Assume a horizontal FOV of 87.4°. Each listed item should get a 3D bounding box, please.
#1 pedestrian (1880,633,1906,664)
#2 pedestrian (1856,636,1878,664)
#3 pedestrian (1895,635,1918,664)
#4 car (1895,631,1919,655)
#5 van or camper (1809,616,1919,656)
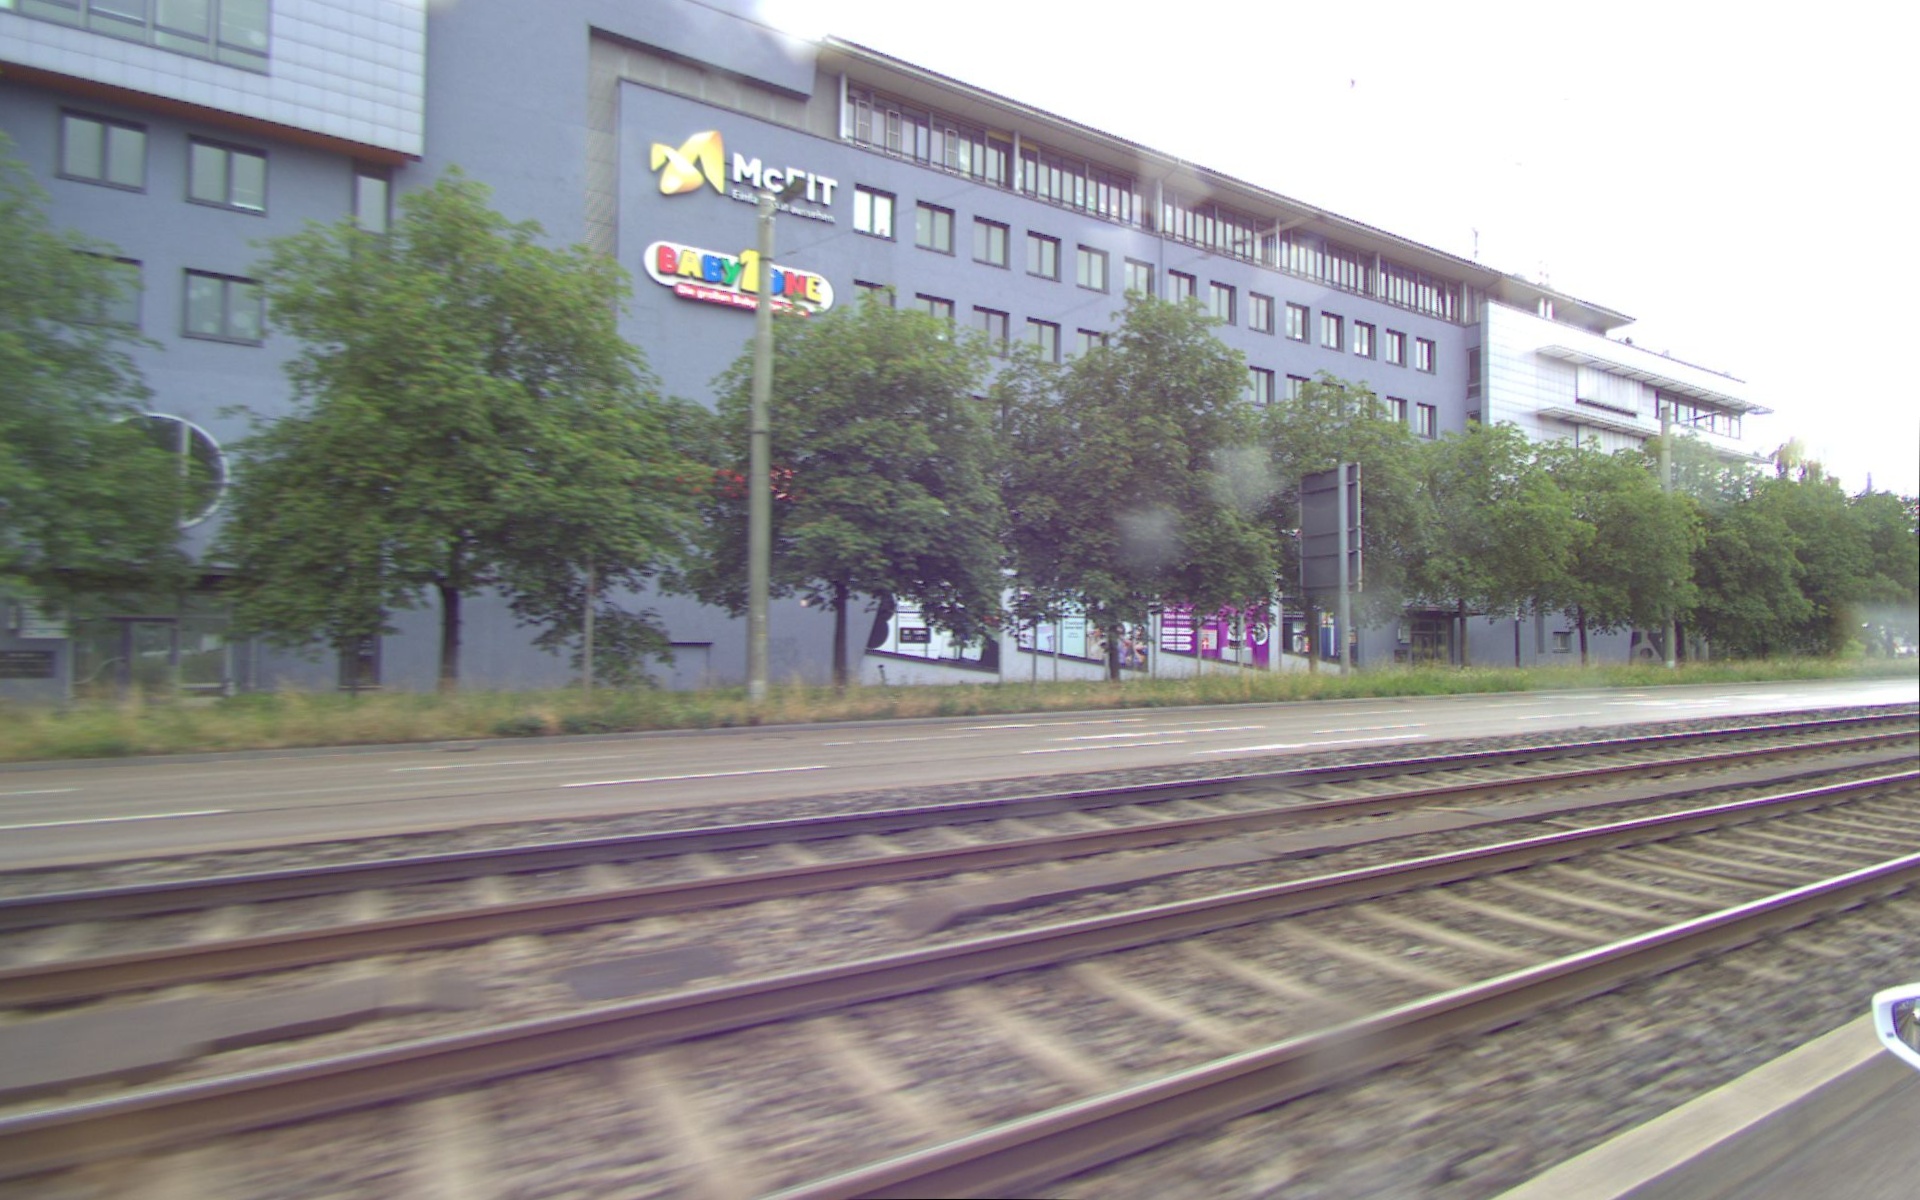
[{"bbox_3d":[61.955,3.219,66.731,0.929,2.040,0.887,1,-2,-15],"label":"pedestrian"},{"bbox_3d":[58.056,3.196,64.302,0.866,1.779,0.722,1,0,-27],"label":"pedestrian"},{"bbox_3d":[62.194,3.232,66.005,0.938,1.892,0.634,0,-2,-14],"label":"pedestrian"},{"bbox_3d":[74.254,3.280,76.482,1.960,1.755,4.633,0,-1,4],"label":"car"},{"bbox_3d":[70.369,2.759,78.371,2.441,3.006,7.379,0,-1,5],"label":"van or camper"}]
